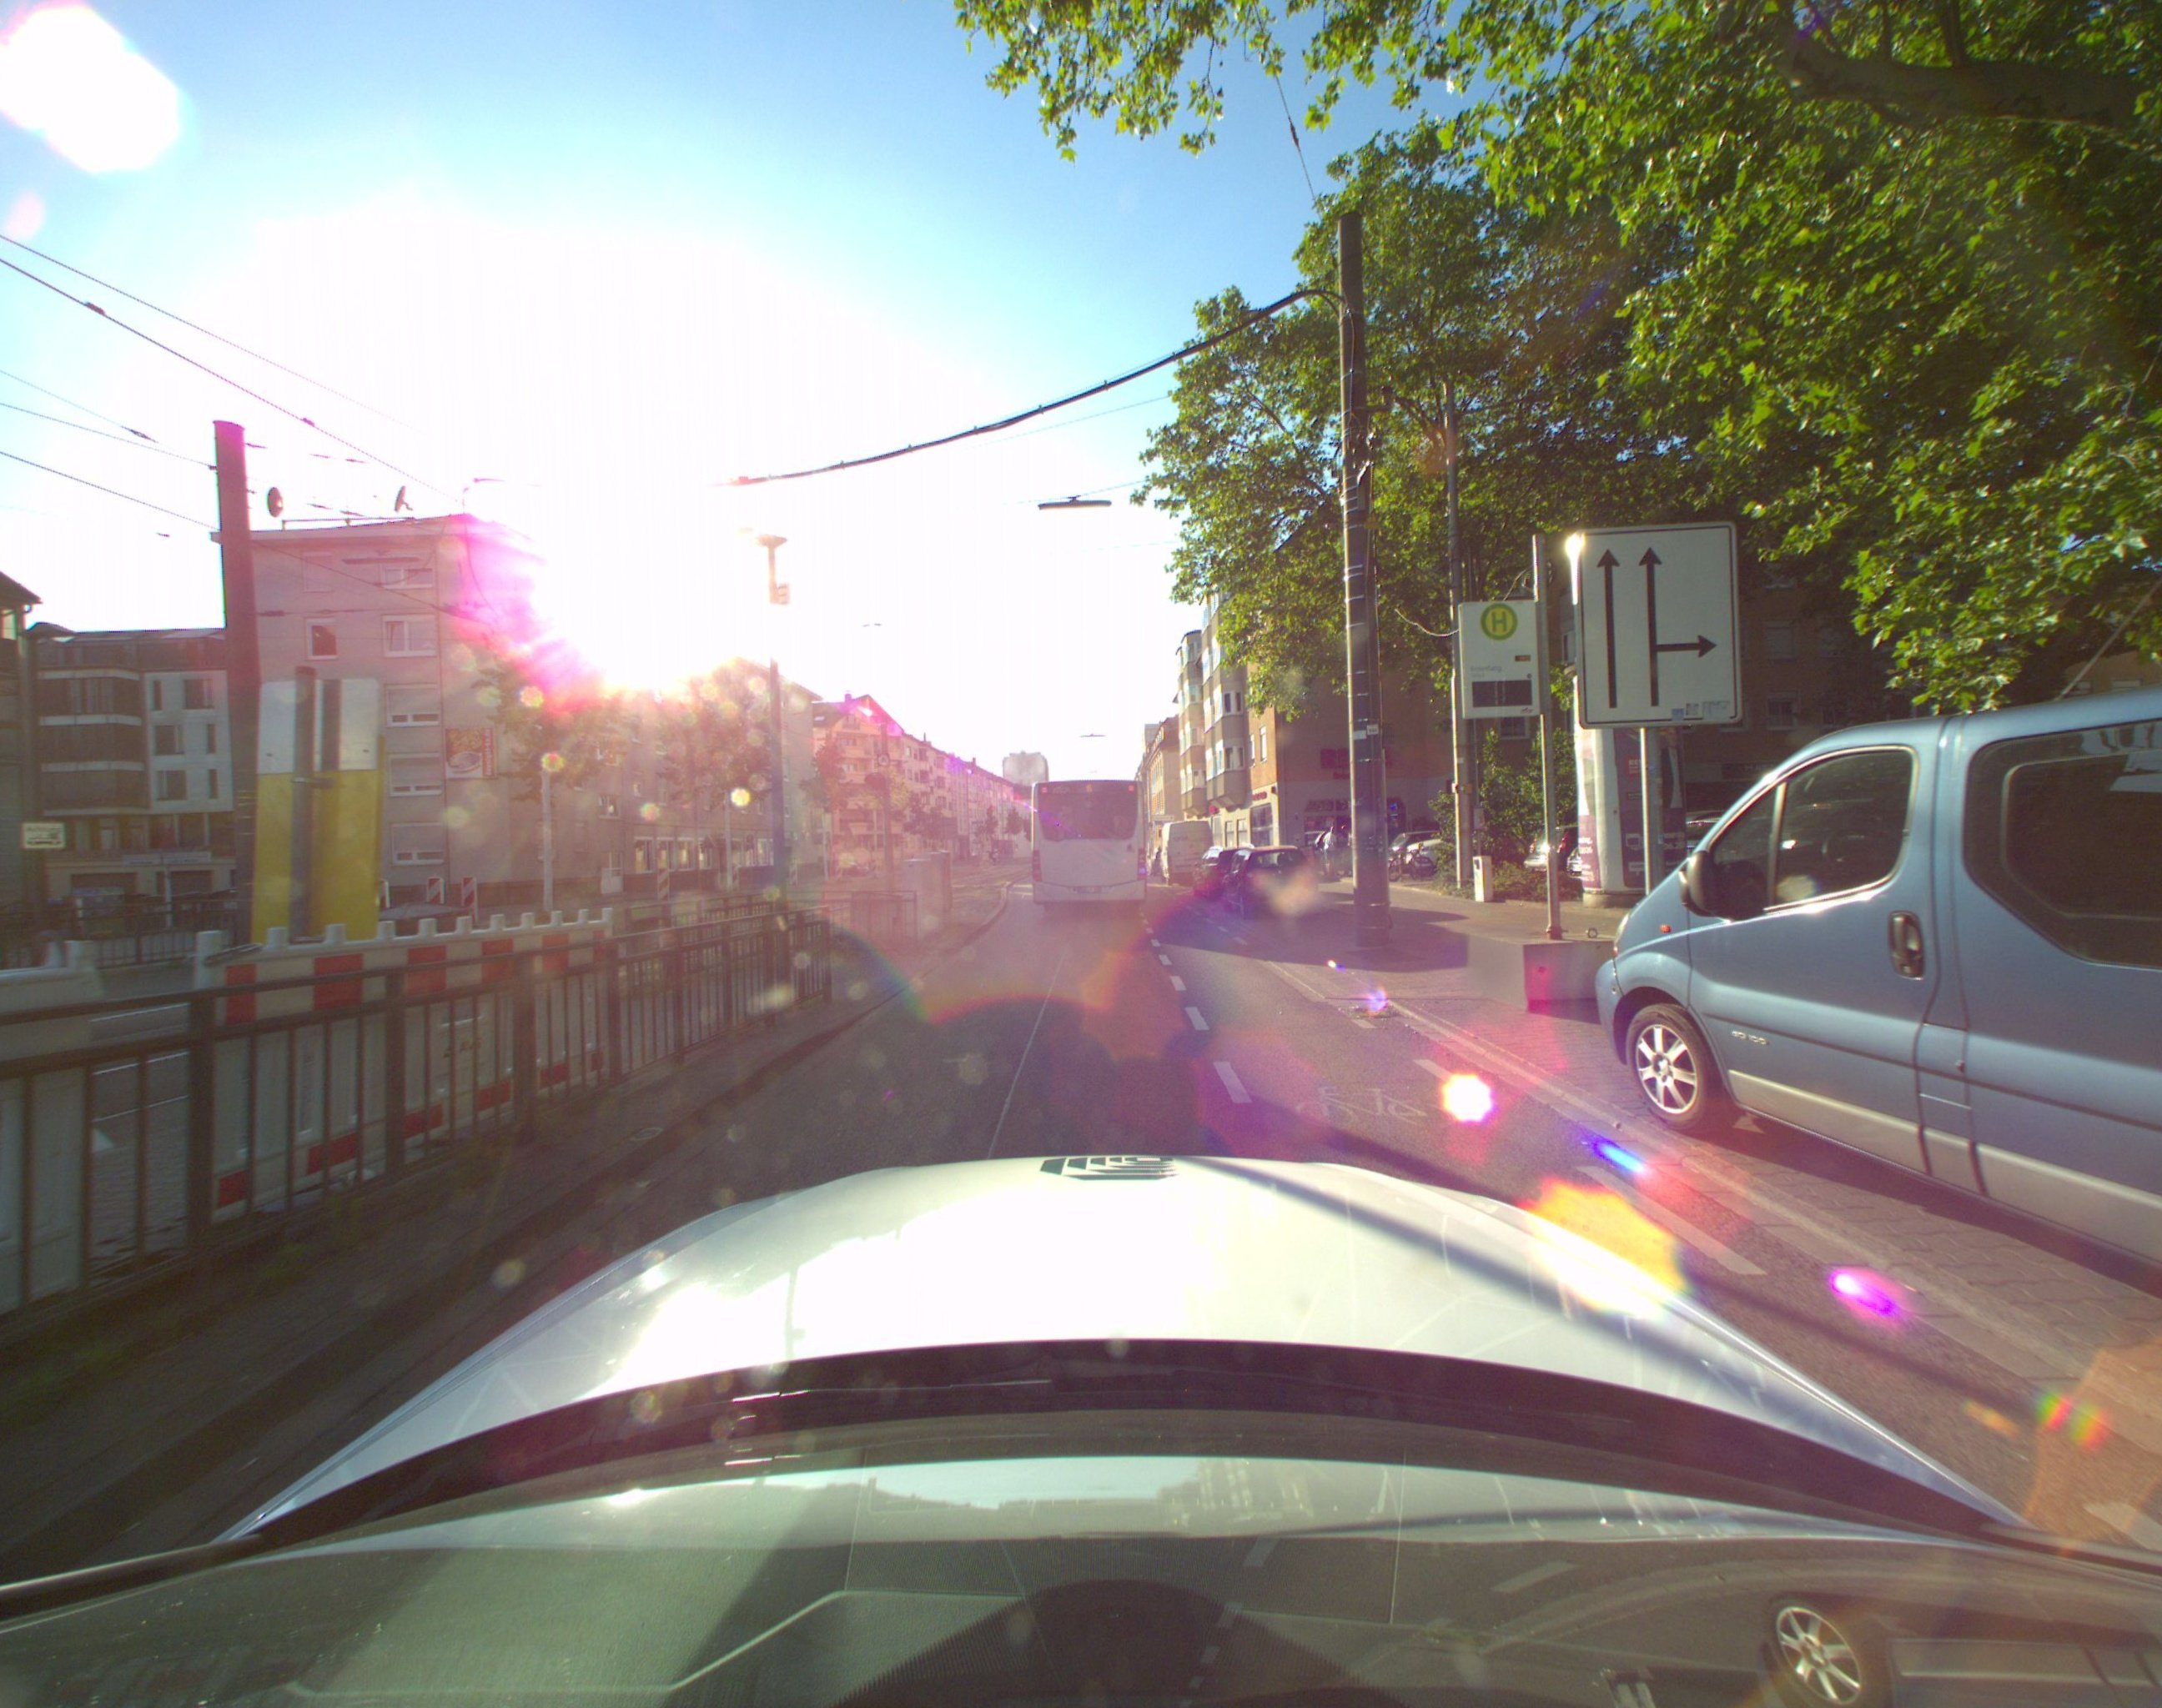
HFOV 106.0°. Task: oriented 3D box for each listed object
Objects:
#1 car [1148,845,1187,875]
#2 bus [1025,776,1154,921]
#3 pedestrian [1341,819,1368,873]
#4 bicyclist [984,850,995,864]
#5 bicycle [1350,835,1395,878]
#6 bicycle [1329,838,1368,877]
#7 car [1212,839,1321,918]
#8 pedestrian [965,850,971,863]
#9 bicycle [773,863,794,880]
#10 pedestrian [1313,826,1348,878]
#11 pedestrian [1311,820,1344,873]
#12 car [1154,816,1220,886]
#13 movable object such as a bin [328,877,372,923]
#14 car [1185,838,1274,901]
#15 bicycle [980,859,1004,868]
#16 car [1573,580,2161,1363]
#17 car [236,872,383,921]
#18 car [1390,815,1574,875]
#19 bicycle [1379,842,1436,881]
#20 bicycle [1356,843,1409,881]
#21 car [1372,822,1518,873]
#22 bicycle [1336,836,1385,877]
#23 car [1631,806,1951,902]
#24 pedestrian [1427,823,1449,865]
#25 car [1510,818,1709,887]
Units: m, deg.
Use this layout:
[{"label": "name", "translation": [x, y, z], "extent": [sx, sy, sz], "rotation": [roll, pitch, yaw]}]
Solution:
[{"label": "car", "translation": [4.841, 0.296, 46.146], "extent": [1.831, 1.536, 4.232], "rotation": [-2, 0, 2]}, {"label": "bus", "translation": [0.322, -0.145, 21.838], "extent": [2.728, 3.055, 8.857], "rotation": [-1, 0, 2]}, {"label": "pedestrian", "translation": [9.477, -0.281, 28.239], "extent": [0.527, 1.781, 0.649], "rotation": [-6, 1, -6]}, {"label": "bicyclist", "translation": [-8.070, 0.264, 72.004], "extent": [0.932, 1.161, 0.642], "rotation": [-2, 0, -10]}, {"label": "bicycle", "translation": [8.853, 0.061, 24.679], "extent": [0.639, 1.226, 1.592], "rotation": [-2, 0, 44]}, {"label": "bicycle", "translation": [8.729, 0.107, 26.519], "extent": [1.528, 1.226, 0.399], "rotation": [-2, 0, -39]}, {"label": "car", "translation": [4.051, 0.487, 18.350], "extent": [1.564, 1.494, 3.626], "rotation": [-4, 0, 0]}, {"label": "pedestrian", "translation": [-17.805, 0.444, 128.241], "extent": [0.784, 2.013, 0.890], "rotation": [-2, 0, -2]}, {"label": "bicycle", "translation": [-21.310, 1.251, 58.429], "extent": [0.744, 1.115, 1.779], "rotation": [-2, 0, 2]}, {"label": "pedestrian", "translation": [8.317, -0.074, 27.152], "extent": [0.658, 1.636, 0.988], "rotation": [-6, 1, -6]}, {"label": "pedestrian", "translation": [8.643, -0.273, 28.544], "extent": [0.803, 1.751, 0.769], "rotation": [-5, 1, 1]}, {"label": "car", "translation": [4.407, -0.153, 34.703], "extent": [2.009, 2.551, 5.787], "rotation": [-5, 0, 2]}, {"label": "movable object such as a bin", "translation": [-23.118, 1.447, 25.770], "extent": [0.661, 1.400, 0.749], "rotation": [-3, 0, 0]}, {"label": "car", "translation": [4.267, 0.404, 24.032], "extent": [1.691, 1.530, 4.652], "rotation": [-5, 0, 0]}, {"label": "bicycle", "translation": [-7.890, 0.815, 72.026], "extent": [2.063, 0.732, 0.760], "rotation": [-2, 0, -10]}, {"label": "car", "translation": [3.804, 0.286, 2.505], "extent": [1.878, 2.078, 4.565], "rotation": [-2, 0, 2]}, {"label": "car", "translation": [-28.502, 1.542, 30.163], "extent": [3.799, 1.512, 1.820], "rotation": [-3, 0, 4]}, {"label": "car", "translation": [12.067, -0.267, 24.728], "extent": [4.602, 1.709, 2.000], "rotation": [1, 0, 0]}, {"label": "bicycle", "translation": [9.123, 0.206, 22.733], "extent": [1.688, 1.014, 0.644], "rotation": [-3, 0, -37]}, {"label": "bicycle", "translation": [8.710, 0.226, 23.512], "extent": [1.590, 1.014, 0.644], "rotation": [-3, 0, -37]}, {"label": "car", "translation": [12.210, -0.191, 27.539], "extent": [4.001, 1.432, 2.000], "rotation": [-2, -3, 0]}, {"label": "bicycle", "translation": [8.840, 0.065, 25.777], "extent": [1.590, 1.226, 0.644], "rotation": [-3, 0, -37]}, {"label": "car", "translation": [11.931, -0.011, 13.909], "extent": [3.825, 1.495, 1.858], "rotation": [1, 0, 2]}, {"label": "pedestrian", "translation": [13.589, -0.373, 30.986], "extent": [0.640, 1.568, 0.417], "rotation": [-2, 0, -29]}, {"label": "car", "translation": [12.192, -0.044, 18.954], "extent": [3.486, 1.482, 1.774], "rotation": [1, 0, 0]}]
